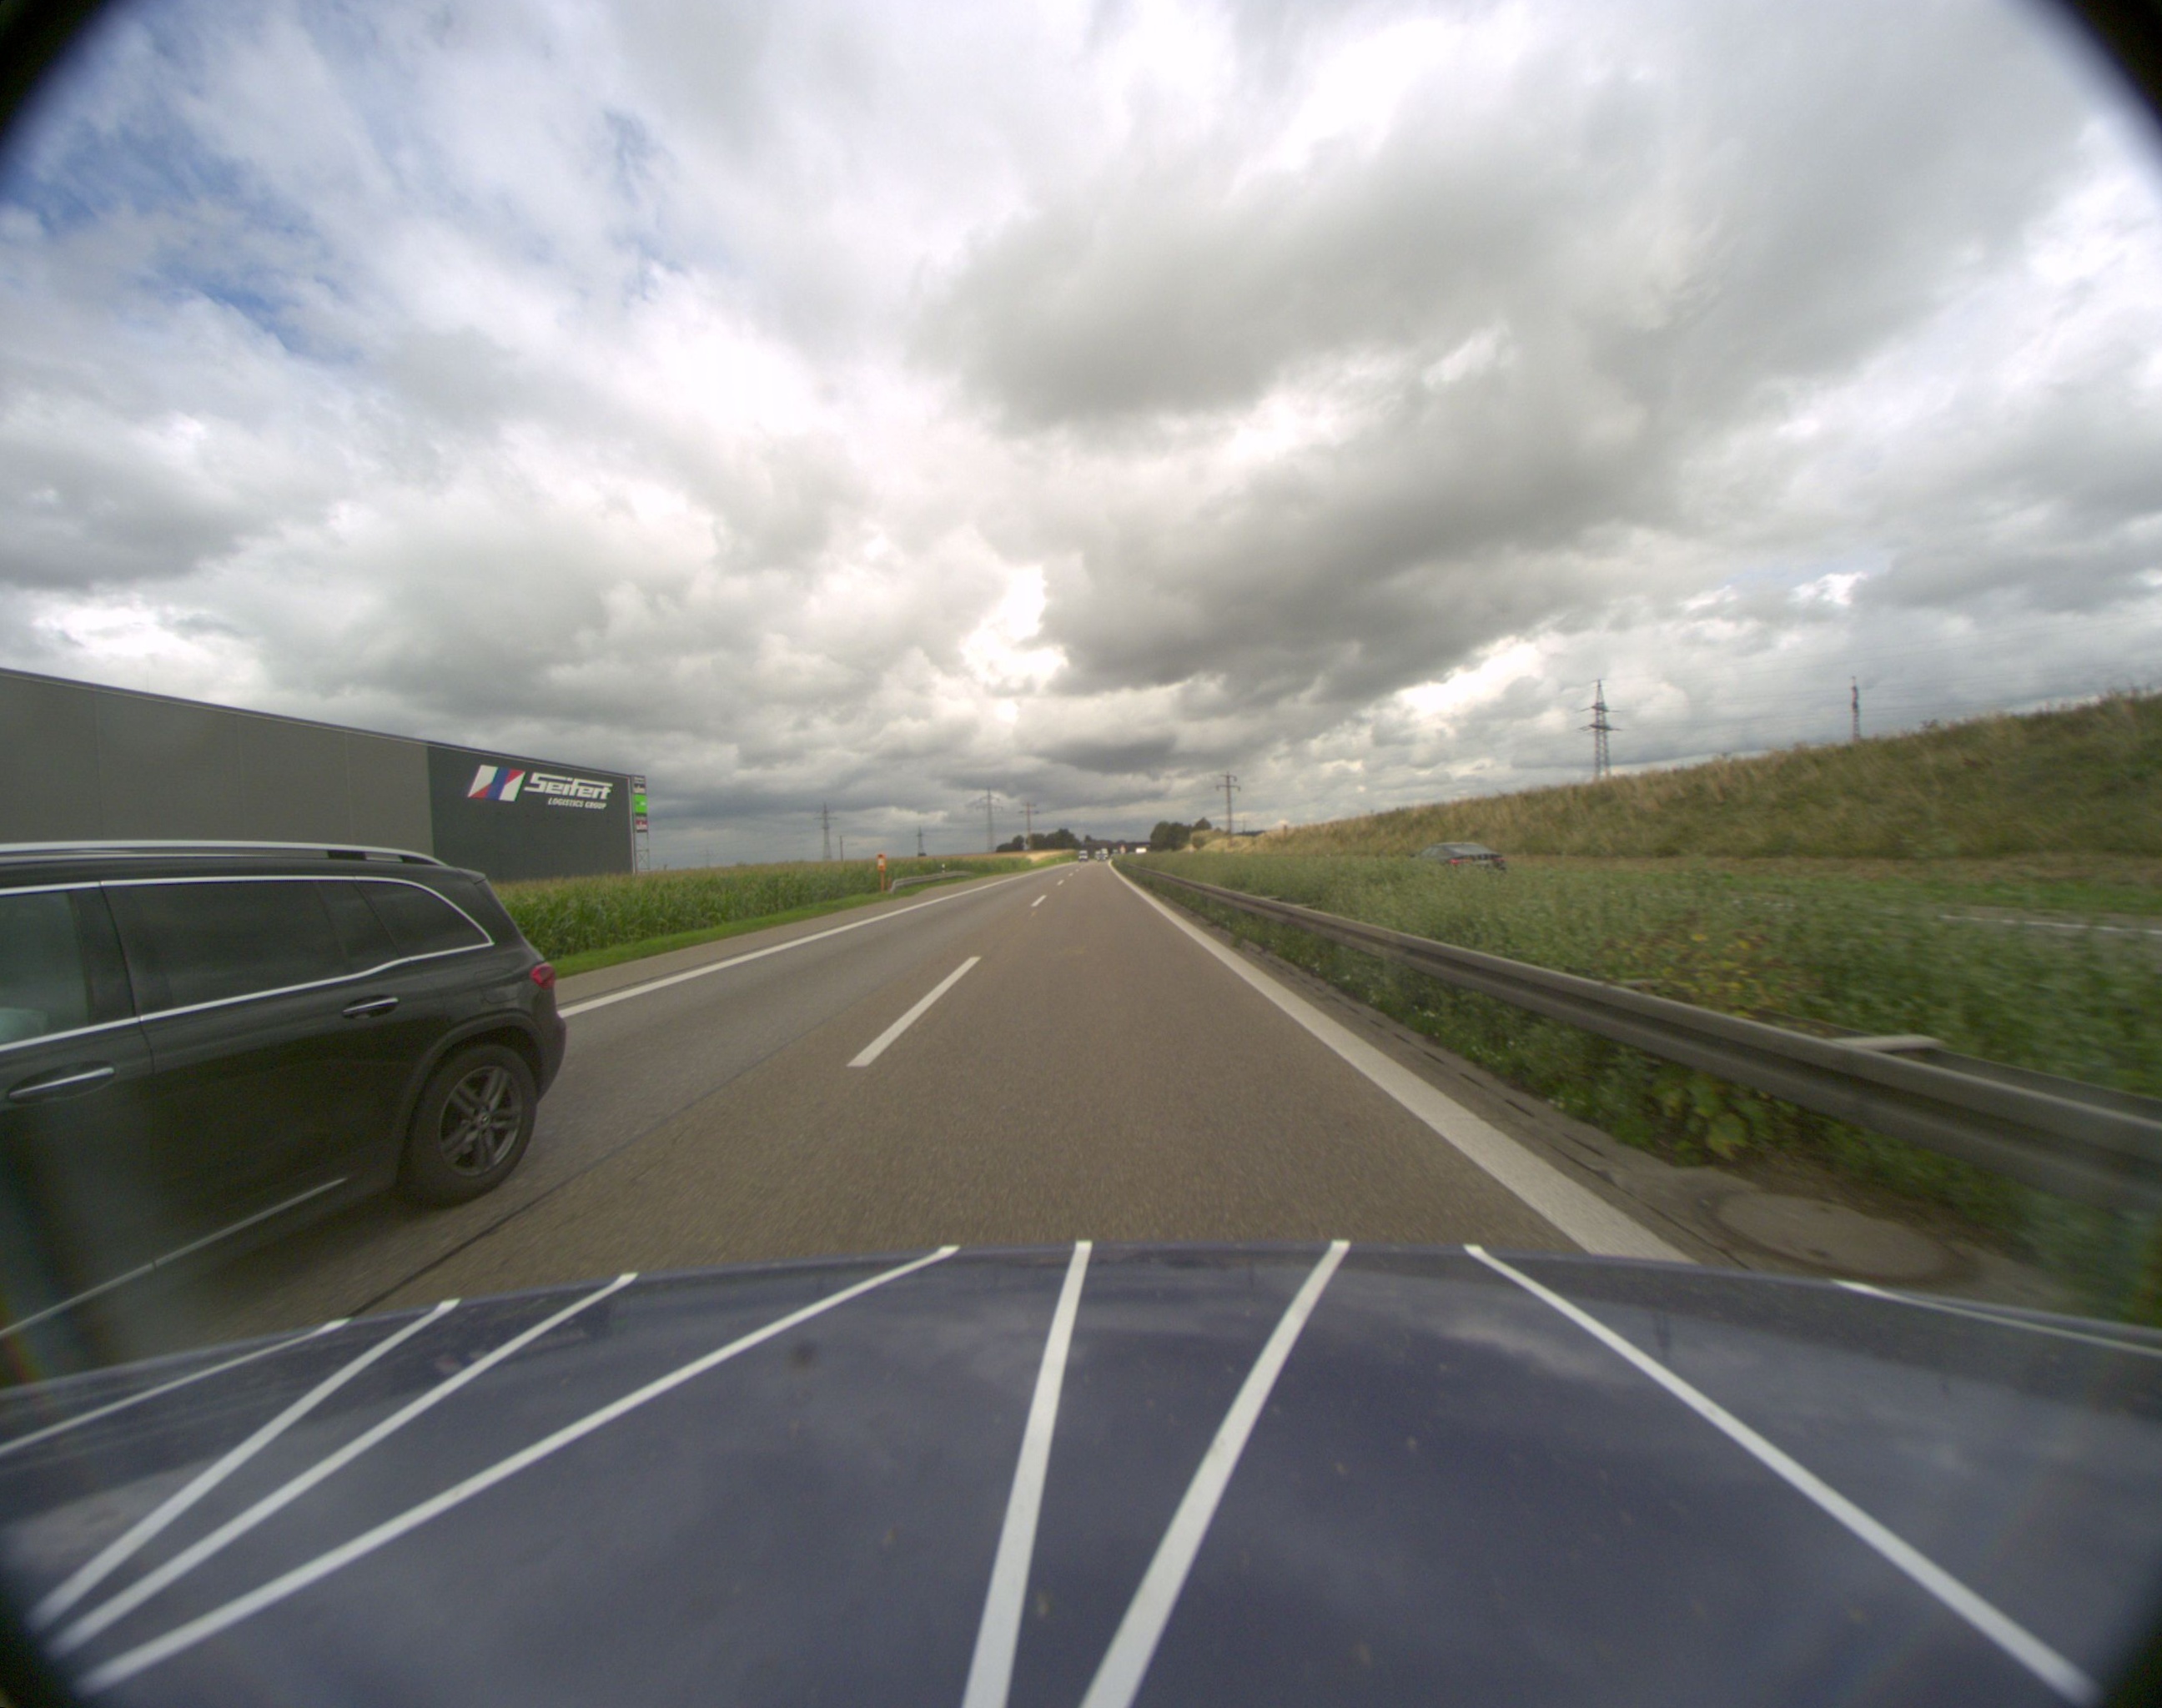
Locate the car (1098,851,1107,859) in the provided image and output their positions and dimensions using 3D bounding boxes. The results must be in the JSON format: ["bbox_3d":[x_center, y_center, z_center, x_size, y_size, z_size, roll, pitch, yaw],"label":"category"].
[{"bbox_3d":[5.077,0.343,177.293,1.998,1.695,4.663,-4,-1,3],"label":"car"}]

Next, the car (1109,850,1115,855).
[{"bbox_3d":[10.352,-0.580,254.972,1.998,1.698,4.000,-2,0,1],"label":"car"}]

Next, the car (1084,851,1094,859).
[{"bbox_3d":[1.908,0.166,179.470,1.998,1.812,4.342,-2,0,2],"label":"car"}]

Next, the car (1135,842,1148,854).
[{"bbox_3d":[11.663,-1.114,147.006,2.129,2.254,5.452,-2,1,2],"label":"car"}]

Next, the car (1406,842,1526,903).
[{"bbox_3d":[12.149,0.519,24.288,1.821,1.692,4.000,-2,1,1],"label":"car"}]

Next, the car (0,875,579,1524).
[{"bbox_3d":[-3.749,0.965,1.973,1.838,1.600,4.360,-2,1,2],"label":"car"}]
